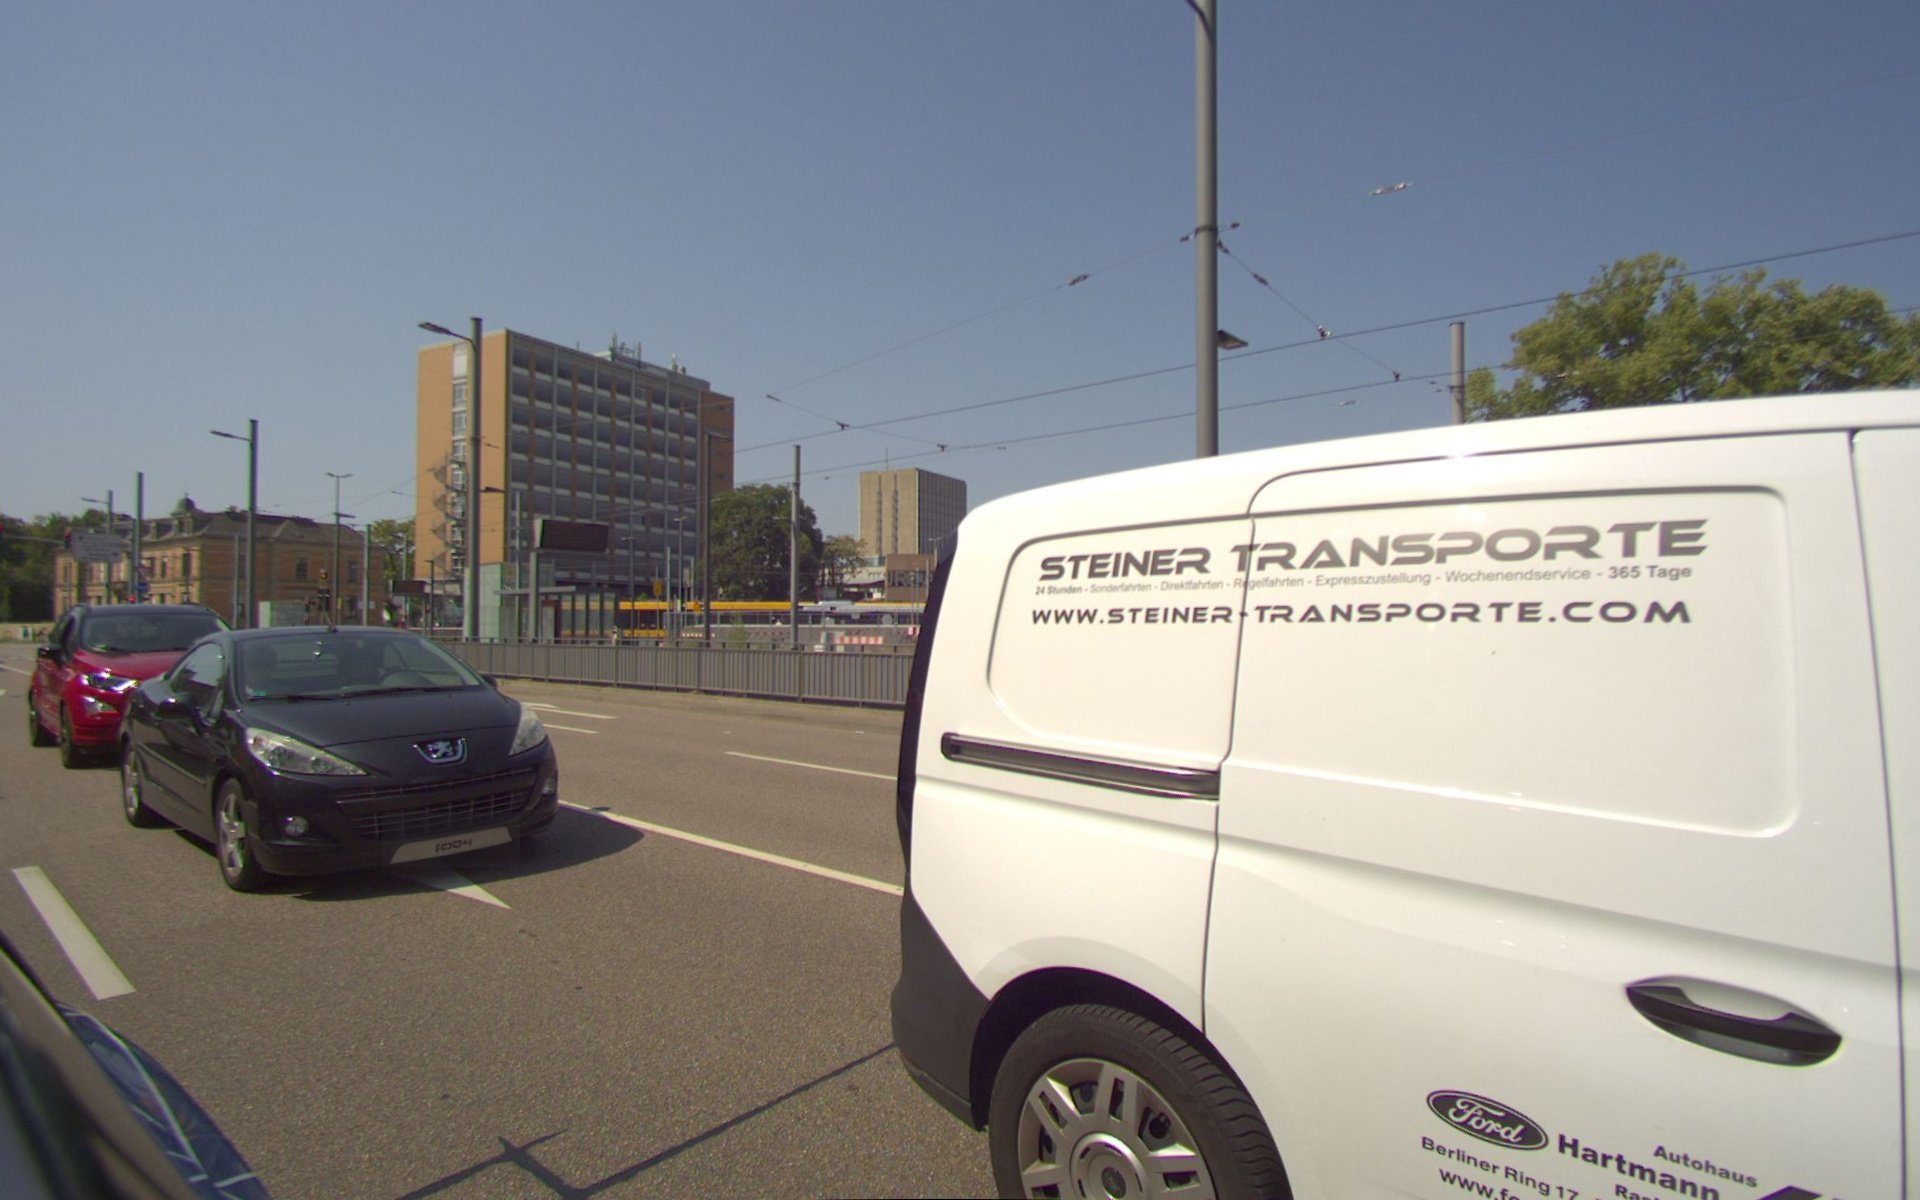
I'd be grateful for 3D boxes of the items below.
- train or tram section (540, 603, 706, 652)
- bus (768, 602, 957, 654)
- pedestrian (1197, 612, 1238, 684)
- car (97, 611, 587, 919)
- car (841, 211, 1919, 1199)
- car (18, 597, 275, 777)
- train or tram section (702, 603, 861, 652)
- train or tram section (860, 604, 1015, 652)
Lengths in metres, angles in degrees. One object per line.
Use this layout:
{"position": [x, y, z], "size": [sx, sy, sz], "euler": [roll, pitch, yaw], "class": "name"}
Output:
{"position": [-26.107, 2.157, 78.802], "size": [12.180, 3.794, 2.002], "euler": [0, -2, -4], "class": "train or tram section"}
{"position": [-6.975, 1.976, 73.133], "size": [13.205, 3.319, 3.354], "euler": [-1, 0, -4], "class": "bus"}
{"position": [6.617, 1.222, 25.988], "size": [0.761, 1.801, 0.735], "euler": [-2, -3, 42], "class": "pedestrian"}
{"position": [-4.200, 0.815, 6.632], "size": [3.799, 1.424, 1.671], "euler": [-1, -1, 41], "class": "car"}
{"position": [1.883, 0.469, 1.617], "size": [4.237, 1.834, 1.729], "euler": [-1, -1, 41], "class": "car"}
{"position": [-9.027, 0.818, 11.113], "size": [3.967, 1.633, 1.612], "euler": [-1, -1, 42], "class": "car"}
{"position": [-13.966, 2.215, 79.743], "size": [12.180, 3.794, 2.002], "euler": [0, -2, -4], "class": "train or tram section"}
{"position": [-1.835, 2.229, 80.682], "size": [12.180, 3.794, 2.002], "euler": [0, -2, -4], "class": "train or tram section"}
